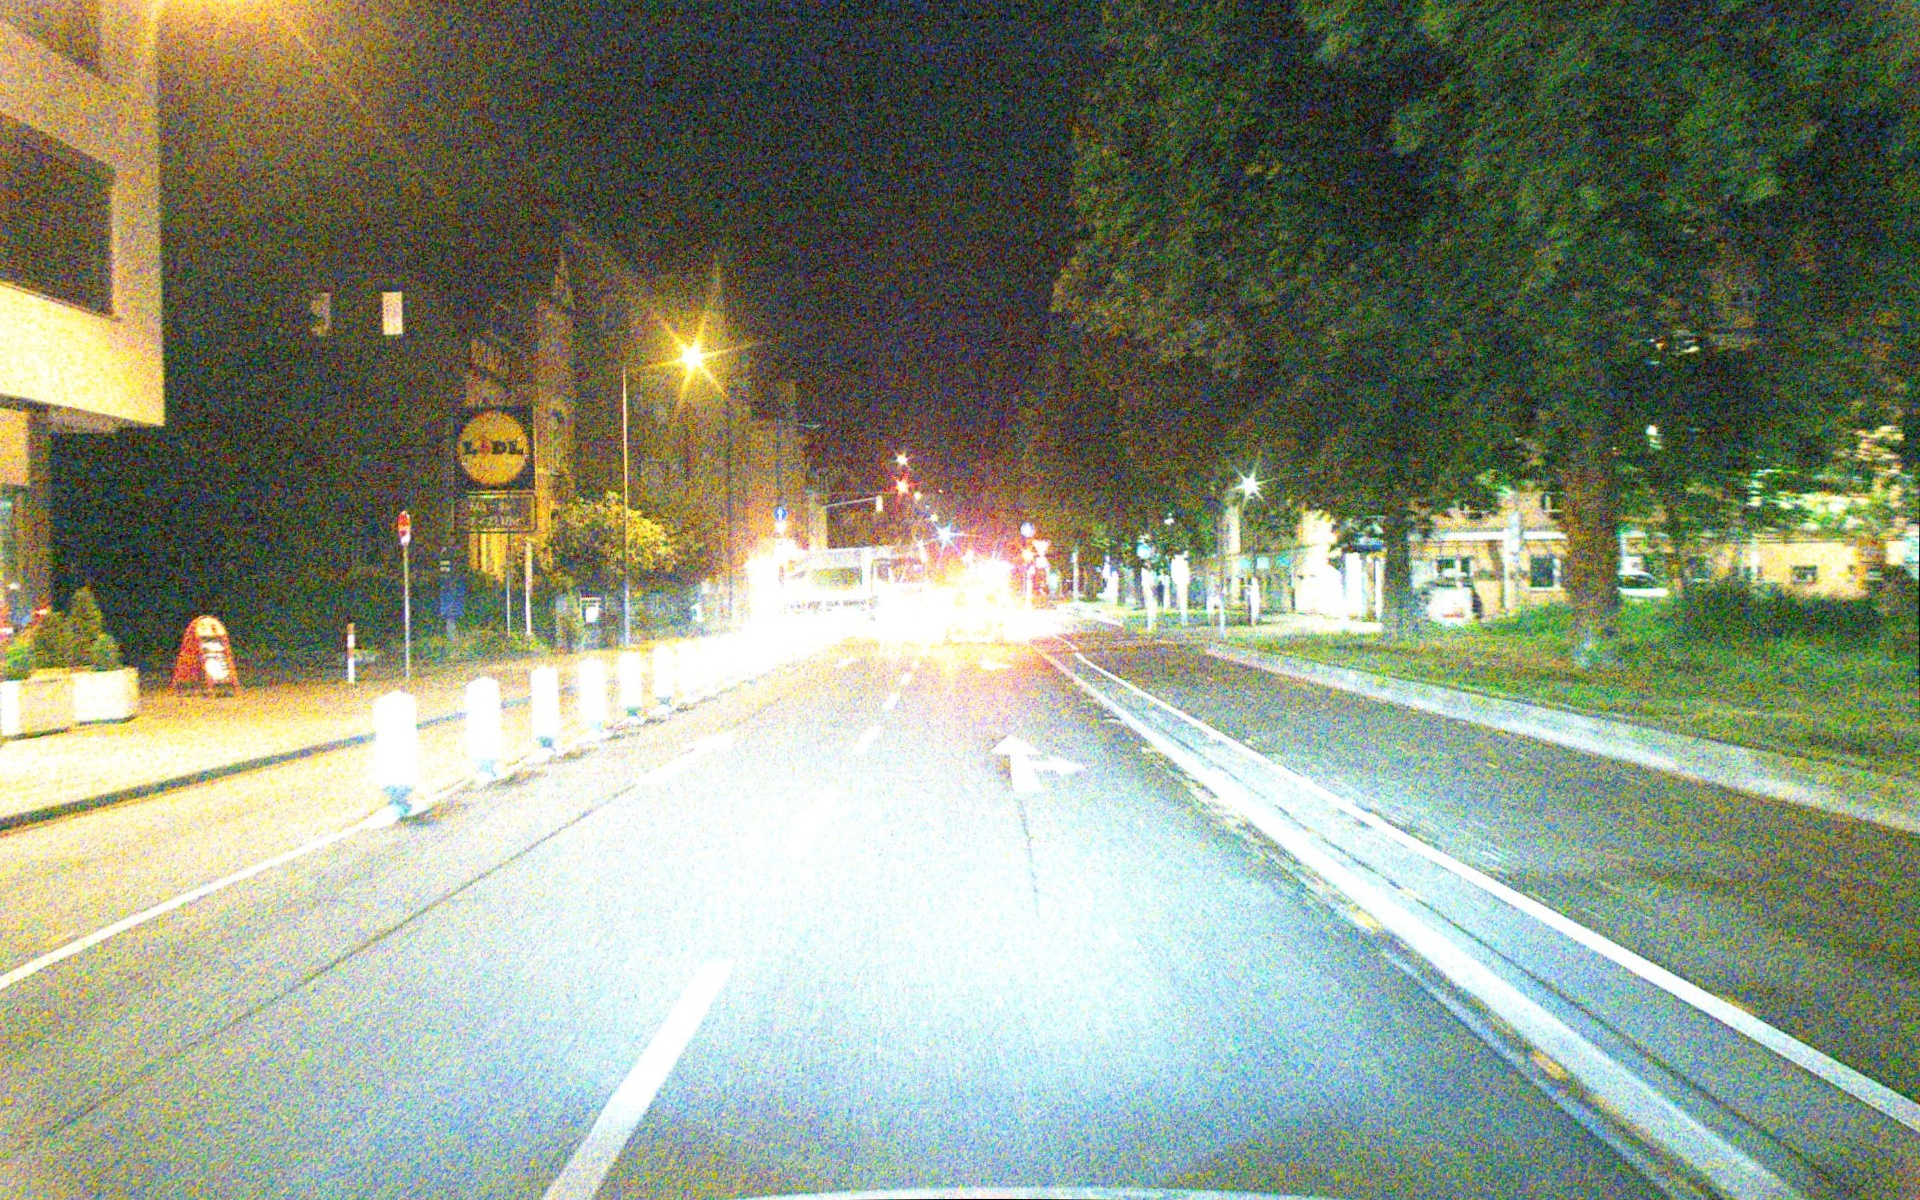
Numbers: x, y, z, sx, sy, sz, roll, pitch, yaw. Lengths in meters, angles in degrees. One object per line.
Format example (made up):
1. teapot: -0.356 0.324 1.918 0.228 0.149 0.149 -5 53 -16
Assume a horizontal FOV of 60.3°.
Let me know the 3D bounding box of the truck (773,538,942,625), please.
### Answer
1. truck: -5.113 -0.809 80.131 2.738 3.782 9.968 -3 0 -39

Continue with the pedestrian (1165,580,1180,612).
1. pedestrian: 12.386 -0.246 96.506 0.723 1.799 0.907 -2 0 0

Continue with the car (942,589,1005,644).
1. car: 0.397 0.452 49.245 1.768 1.520 4.730 1 0 1

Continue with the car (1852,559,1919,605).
1. car: 31.244 -0.608 53.934 1.953 1.453 4.240 -1 0 -1

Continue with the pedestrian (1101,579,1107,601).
1. pedestrian: 13.602 -0.916 156.227 0.478 2.049 0.551 -2 0 -1

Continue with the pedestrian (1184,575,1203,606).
1. pedestrian: 13.639 -0.556 96.630 0.882 1.799 0.907 -2 0 0

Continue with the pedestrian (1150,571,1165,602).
1. pedestrian: 11.512 -0.786 96.371 0.699 1.799 0.907 -2 0 0

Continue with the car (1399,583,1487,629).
1. car: 15.785 0.169 54.242 1.482 1.419 4.481 -2 0 -1

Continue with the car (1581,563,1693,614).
1. car: 22.062 -0.381 54.063 1.747 1.560 3.996 -2 0 -5
